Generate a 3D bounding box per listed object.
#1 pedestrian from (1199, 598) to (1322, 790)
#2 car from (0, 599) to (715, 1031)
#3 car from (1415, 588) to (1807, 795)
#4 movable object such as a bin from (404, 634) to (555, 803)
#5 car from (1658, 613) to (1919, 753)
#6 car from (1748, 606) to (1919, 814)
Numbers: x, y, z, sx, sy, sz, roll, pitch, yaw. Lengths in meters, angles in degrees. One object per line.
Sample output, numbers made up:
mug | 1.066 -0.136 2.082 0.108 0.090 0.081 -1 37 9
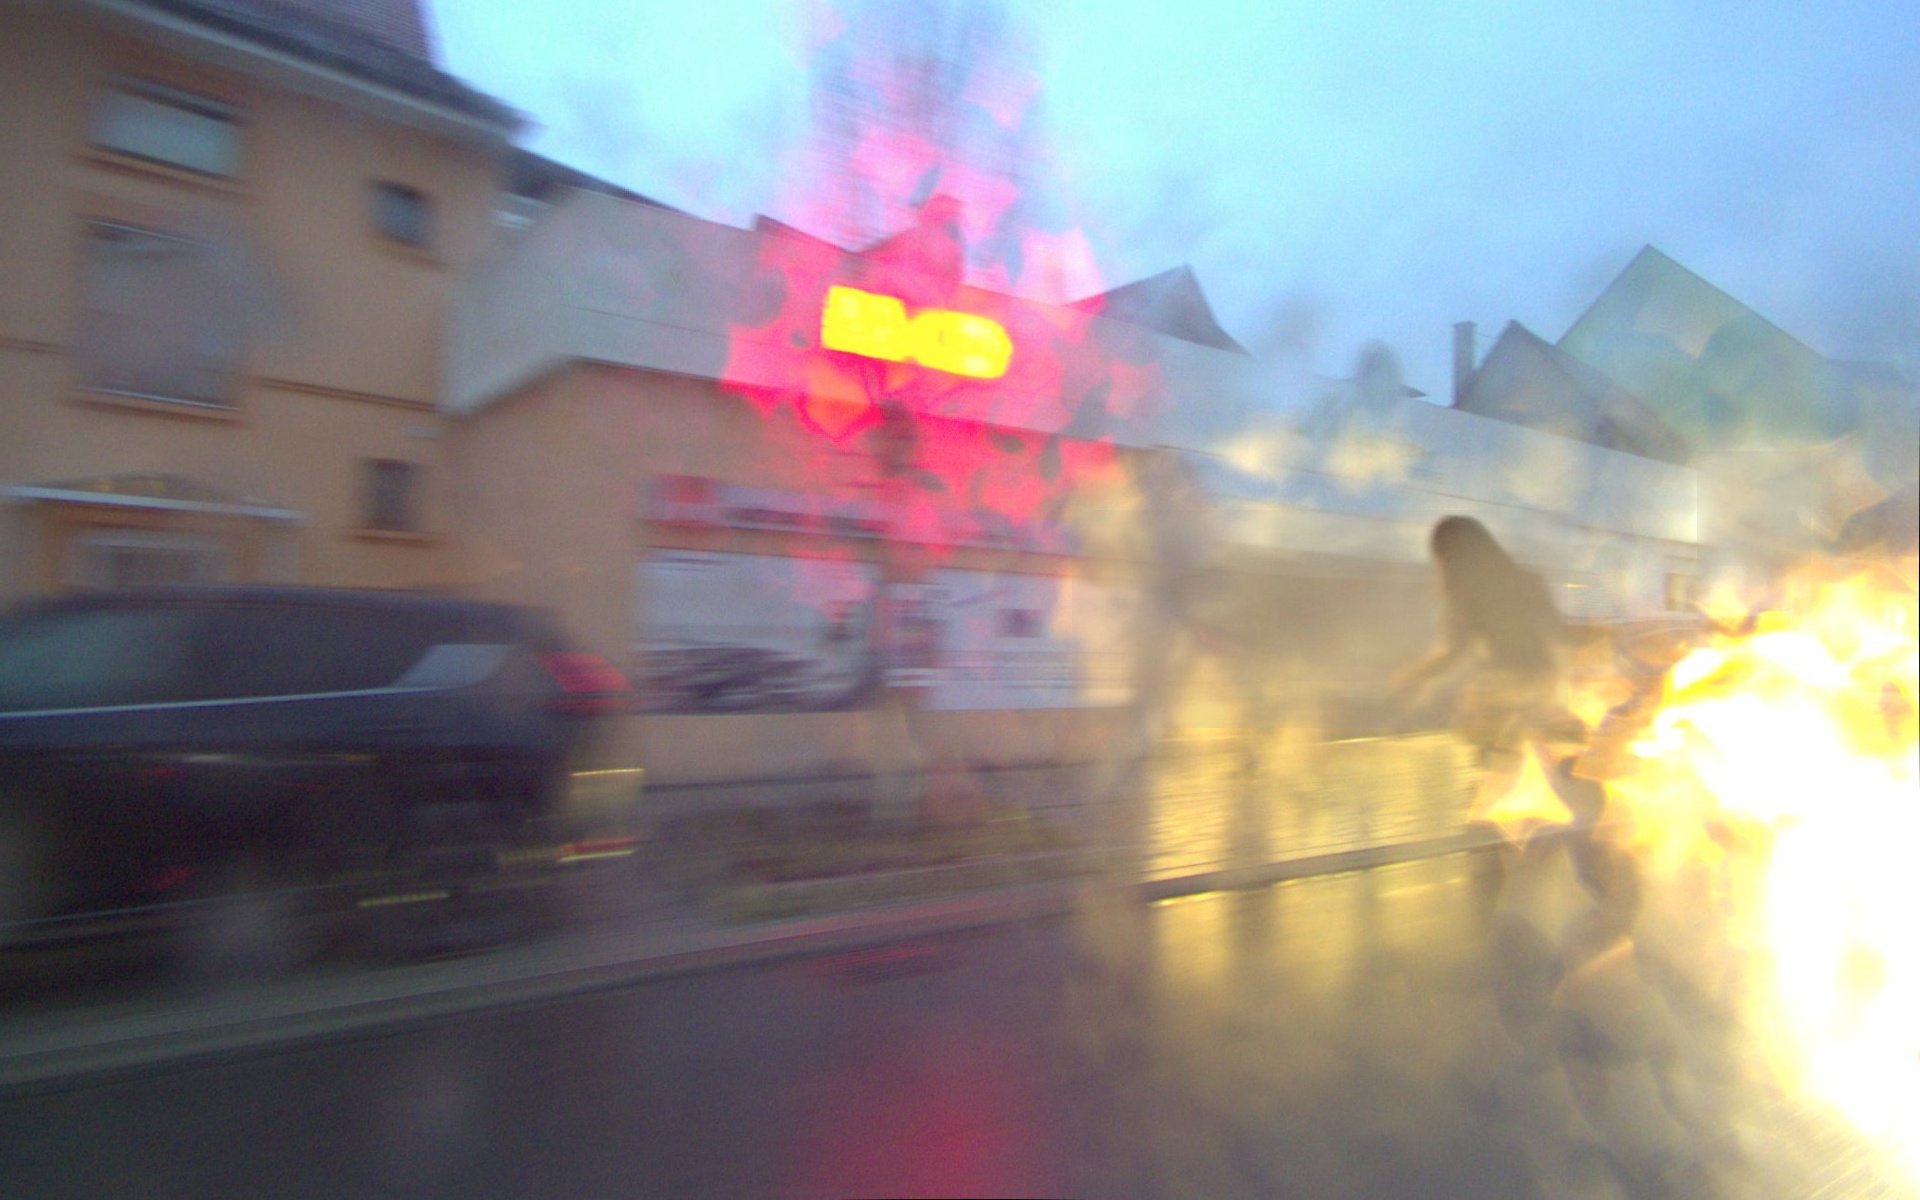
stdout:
pedestrian | 3.122 0.951 10.522 0.925 1.901 1.012 1 -1 -3
car | -3.824 0.780 4.508 4.923 1.542 1.983 2 -1 -32
car | 7.374 0.854 11.183 4.976 1.816 2.071 1 -1 -37
movable object such as a bin | -4.321 1.022 9.006 0.882 1.371 1.329 3 -5 -41
car | 12.368 1.128 14.736 4.662 1.733 1.869 2 -1 -33
car | 10.088 0.961 10.094 4.915 1.729 1.981 0 2 -34
